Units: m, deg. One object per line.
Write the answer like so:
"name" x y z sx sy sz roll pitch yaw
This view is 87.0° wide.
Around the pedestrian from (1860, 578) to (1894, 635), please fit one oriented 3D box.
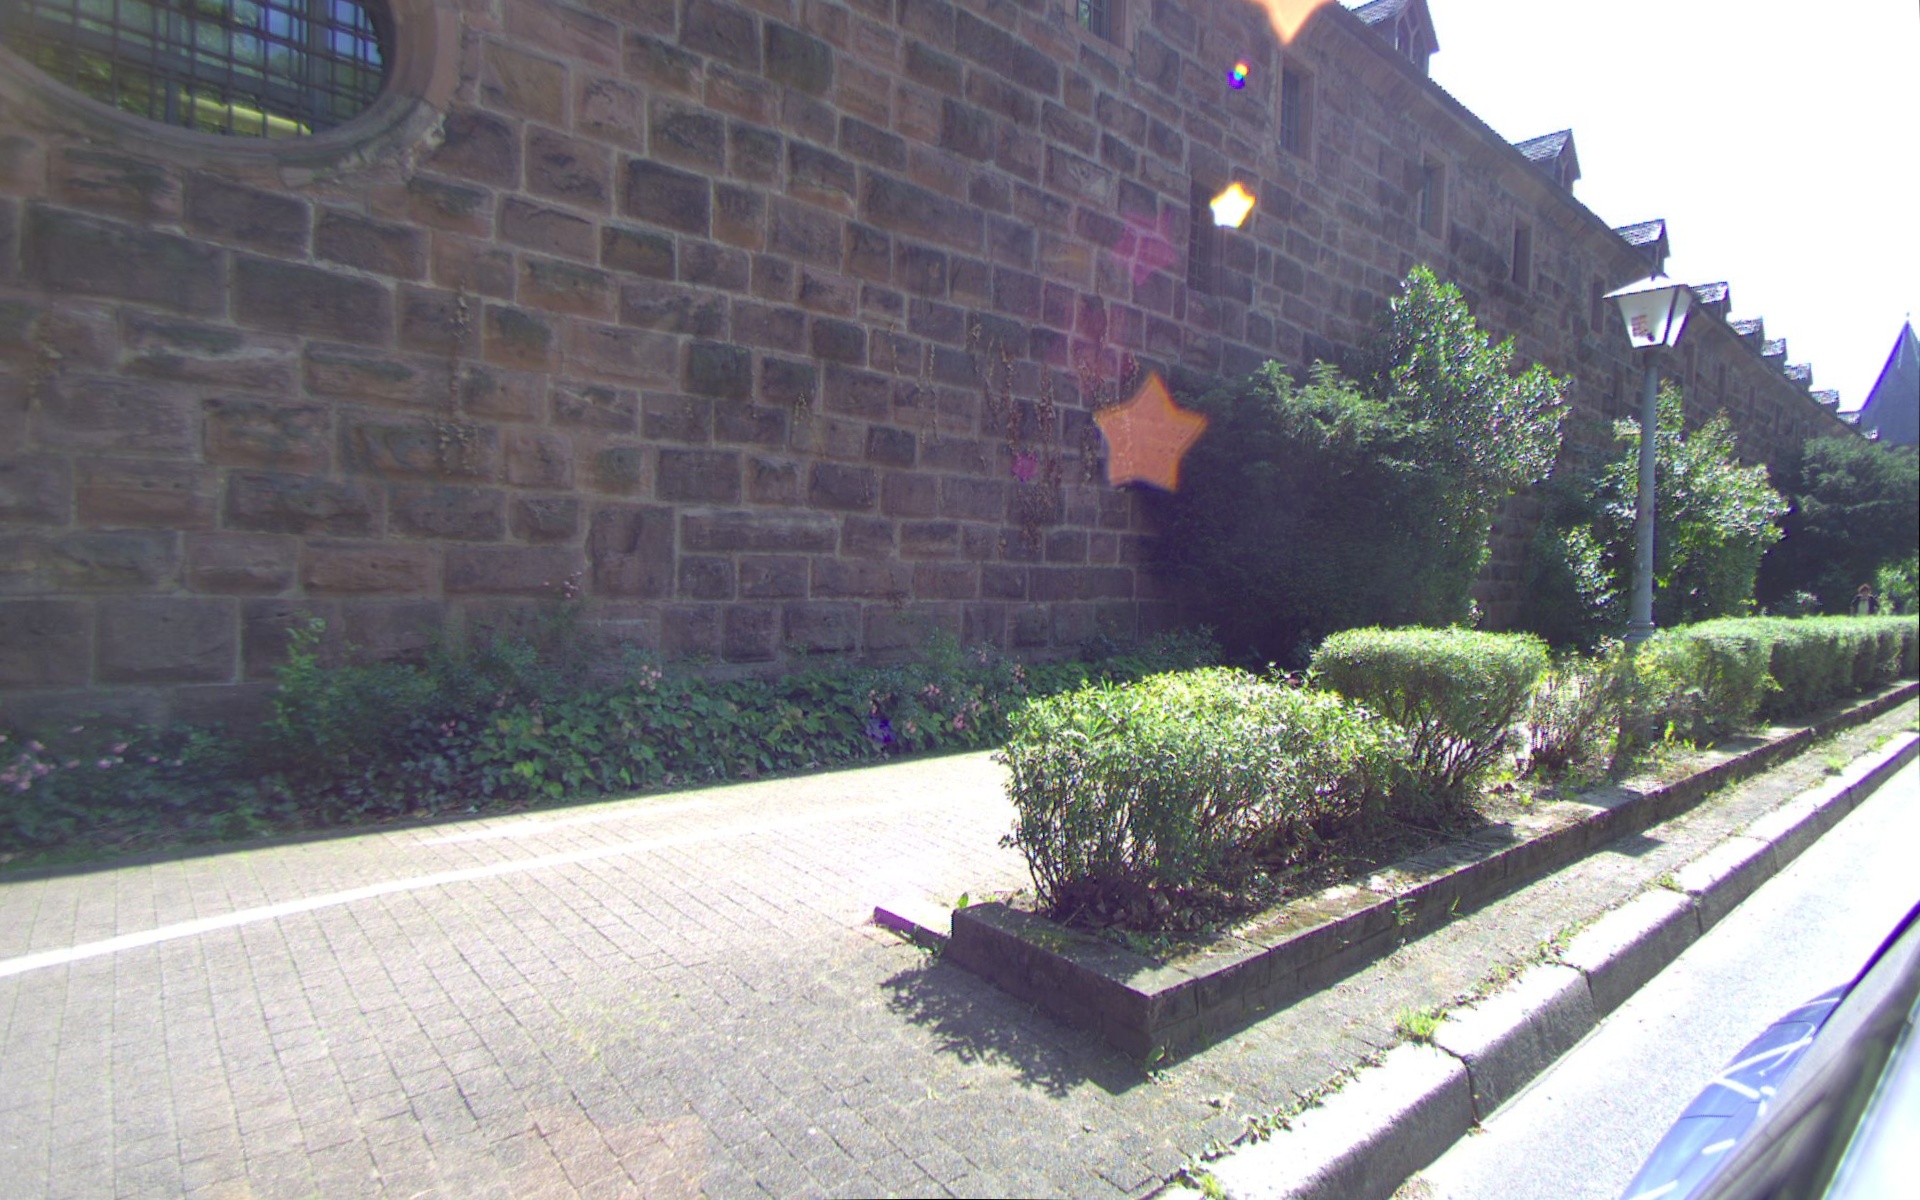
"pedestrian" 25.976 0.181 28.677 0.554 1.583 0.642 0 0 -41
